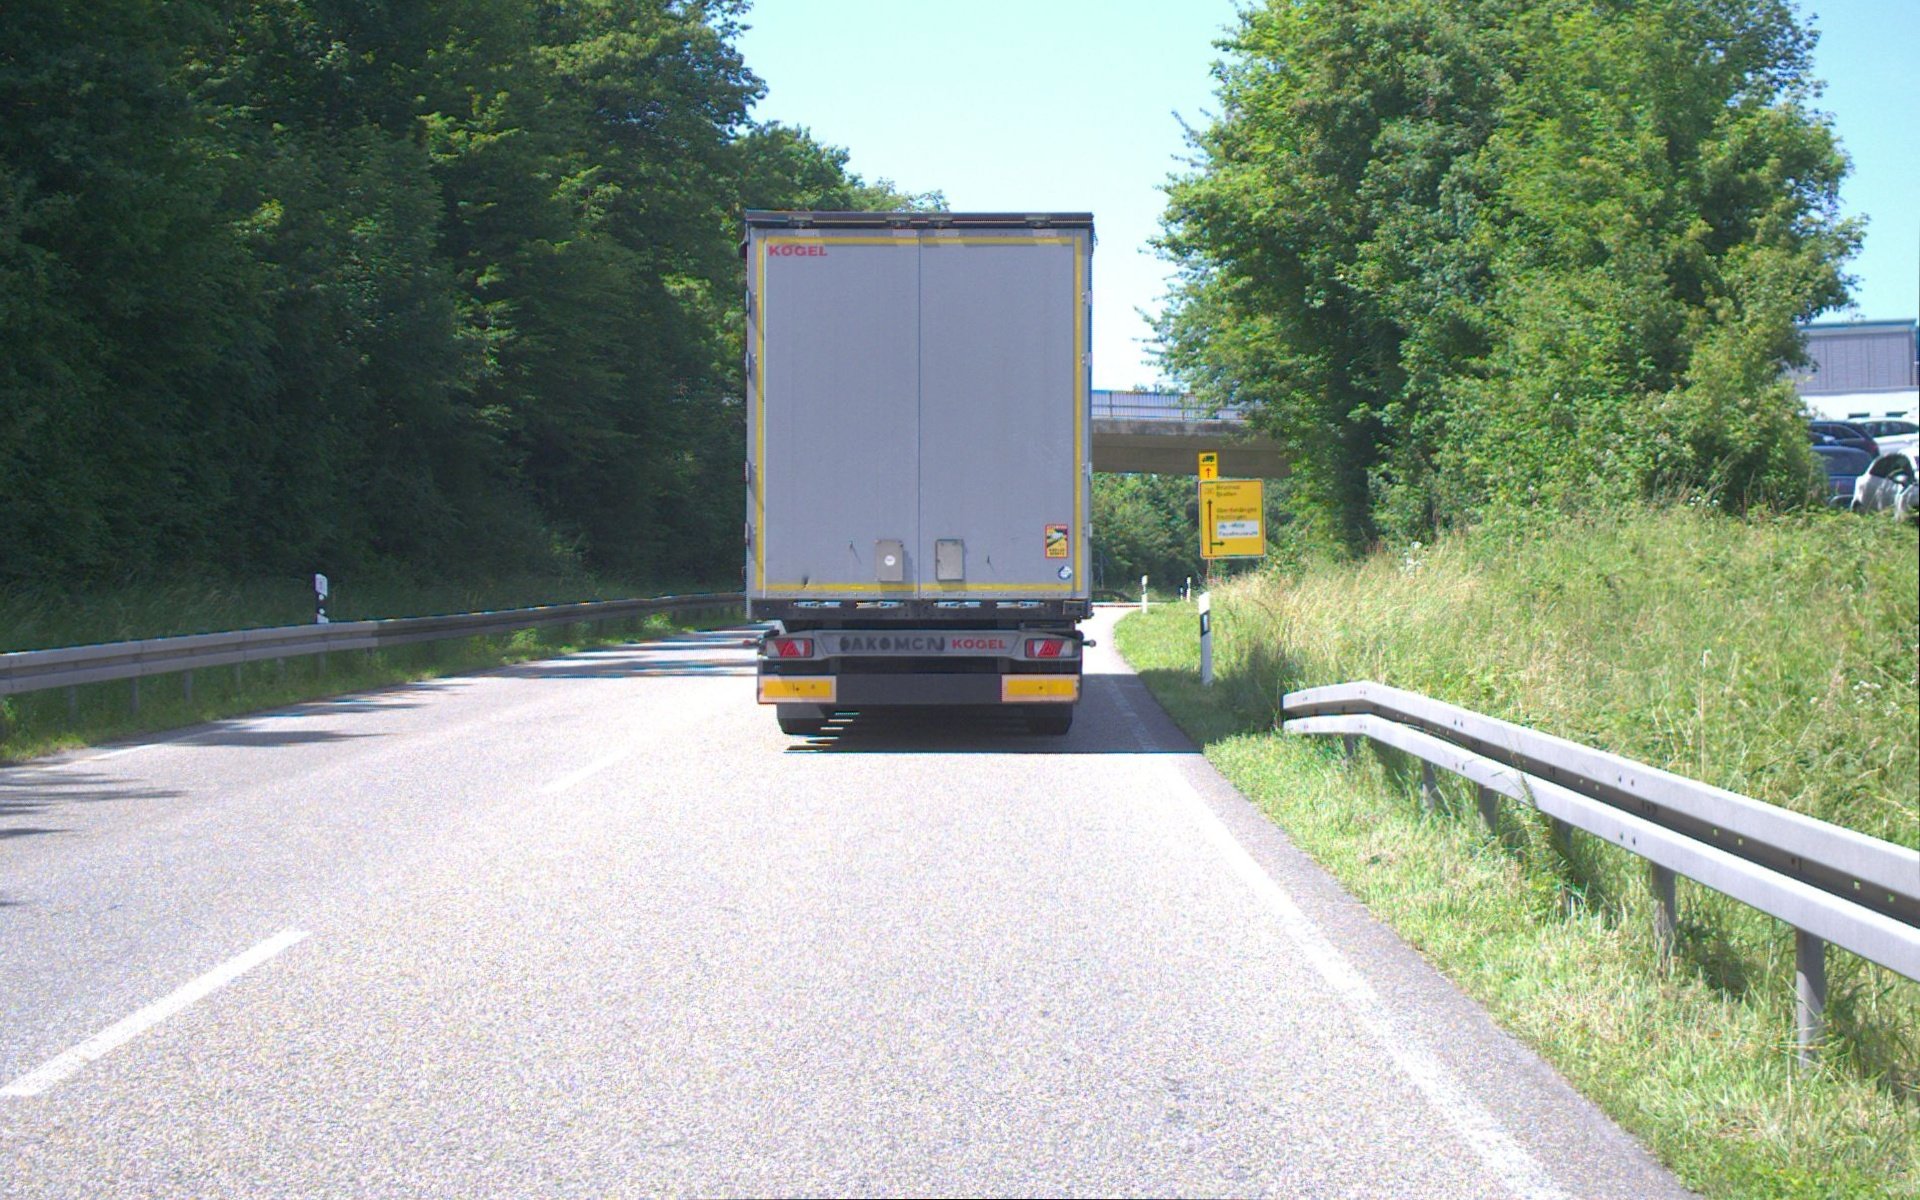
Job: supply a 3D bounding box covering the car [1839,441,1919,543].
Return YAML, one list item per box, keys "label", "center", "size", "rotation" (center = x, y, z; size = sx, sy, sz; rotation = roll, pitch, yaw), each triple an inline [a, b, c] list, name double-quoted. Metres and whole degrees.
- label: "car"
  center: [13.916, -1.488, 48.642]
  size: [1.624, 1.349, 3.712]
  rotation: [4, 3, -5]

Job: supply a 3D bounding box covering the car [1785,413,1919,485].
- label: "car"
  center: [23.051, -3.808, 86.324]
  size: [4.363, 1.679, 1.889]
  rotation: [-2, 5, -29]

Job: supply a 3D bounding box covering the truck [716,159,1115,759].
- label: "truck"
  center: [-0.394, -1.115, 29.898]
  size: [2.866, 4.344, 9.790]
  rotation: [0, 1, -1]
